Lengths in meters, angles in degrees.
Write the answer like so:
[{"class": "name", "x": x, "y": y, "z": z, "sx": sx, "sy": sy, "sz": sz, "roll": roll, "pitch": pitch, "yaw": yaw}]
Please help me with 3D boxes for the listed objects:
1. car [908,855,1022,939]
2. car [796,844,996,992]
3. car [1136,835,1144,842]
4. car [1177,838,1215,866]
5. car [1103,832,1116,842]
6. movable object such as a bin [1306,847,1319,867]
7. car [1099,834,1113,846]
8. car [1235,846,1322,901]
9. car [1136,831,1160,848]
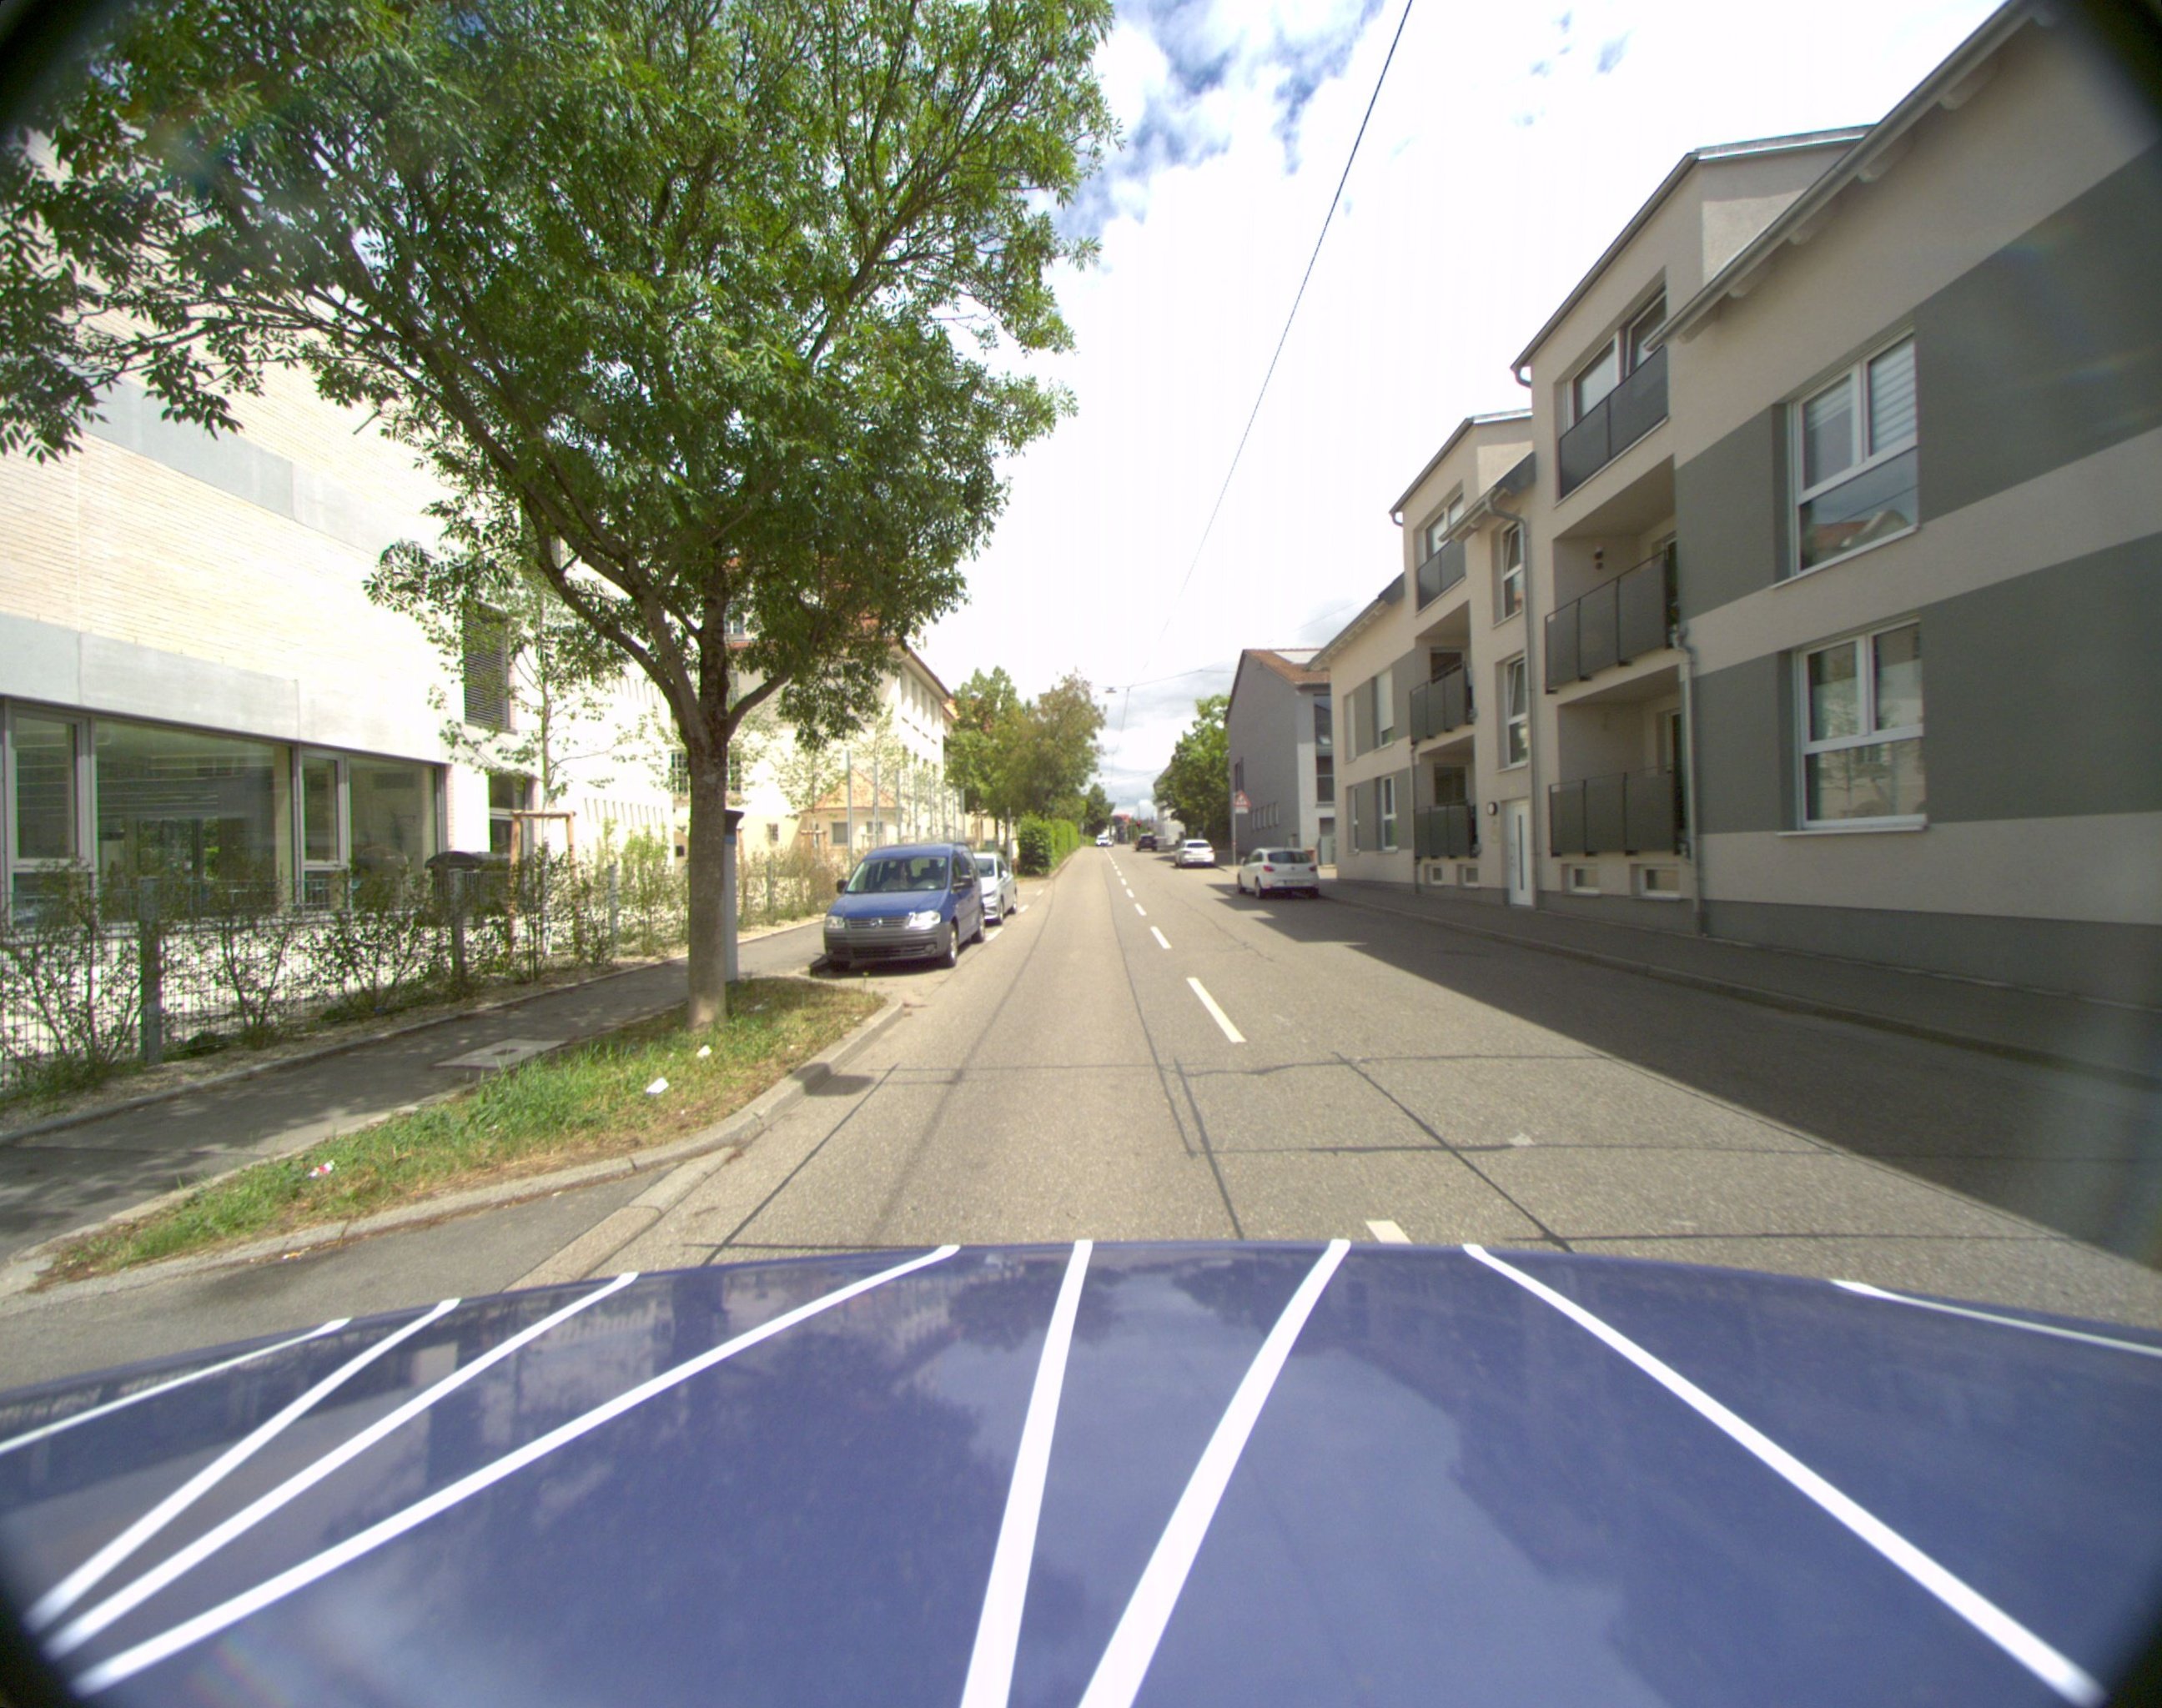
[{"class": "car", "x": -2.485, "y": 0.866, "z": 17.406, "sx": 1.790, "sy": 1.501, "sz": 4.363, "roll": -2, "pitch": 2, "yaw": 1}, {"class": "car", "x": -2.600, "y": 0.781, "z": 11.887, "sx": 1.849, "sy": 1.758, "sz": 4.514, "roll": -2, "pitch": 2, "yaw": 1}, {"class": "car", "x": 15.373, "y": -4.015, "z": 197.290, "sx": 1.794, "sy": 1.477, "sz": 4.002, "roll": -3, "pitch": 0, "yaw": 7}, {"class": "car", "x": 6.021, "y": -0.125, "z": 40.059, "sx": 1.701, "sy": 1.382, "sz": 3.867, "roll": -1, "pitch": 1, "yaw": 4}, {"class": "car", "x": 4.672, "y": -2.753, "z": 124.053, "sx": 1.794, "sy": 1.477, "sz": 4.002, "roll": -3, "pitch": 0, "yaw": 7}, {"class": "movable object such as a bin", "x": 10.718, "y": 0.133, "z": 35.161, "sx": 0.455, "sy": 0.924, "sz": 0.399, "roll": -1, "pitch": 2, "yaw": 0}, {"class": "car", "x": 3.817, "y": -2.135, "z": 115.585, "sx": 1.893, "sy": 1.718, "sz": 4.294, "roll": -2, "pitch": 1, "yaw": 4}, {"class": "car", "x": 5.687, "y": 0.507, "z": 22.293, "sx": 1.651, "sy": 1.411, "sz": 3.697, "roll": 0, "pitch": 2, "yaw": 1}, {"class": "car", "x": 6.462, "y": -1.397, "z": 73.355, "sx": 1.800, "sy": 1.601, "sz": 4.644, "roll": -2, "pitch": 1, "yaw": -1}]
